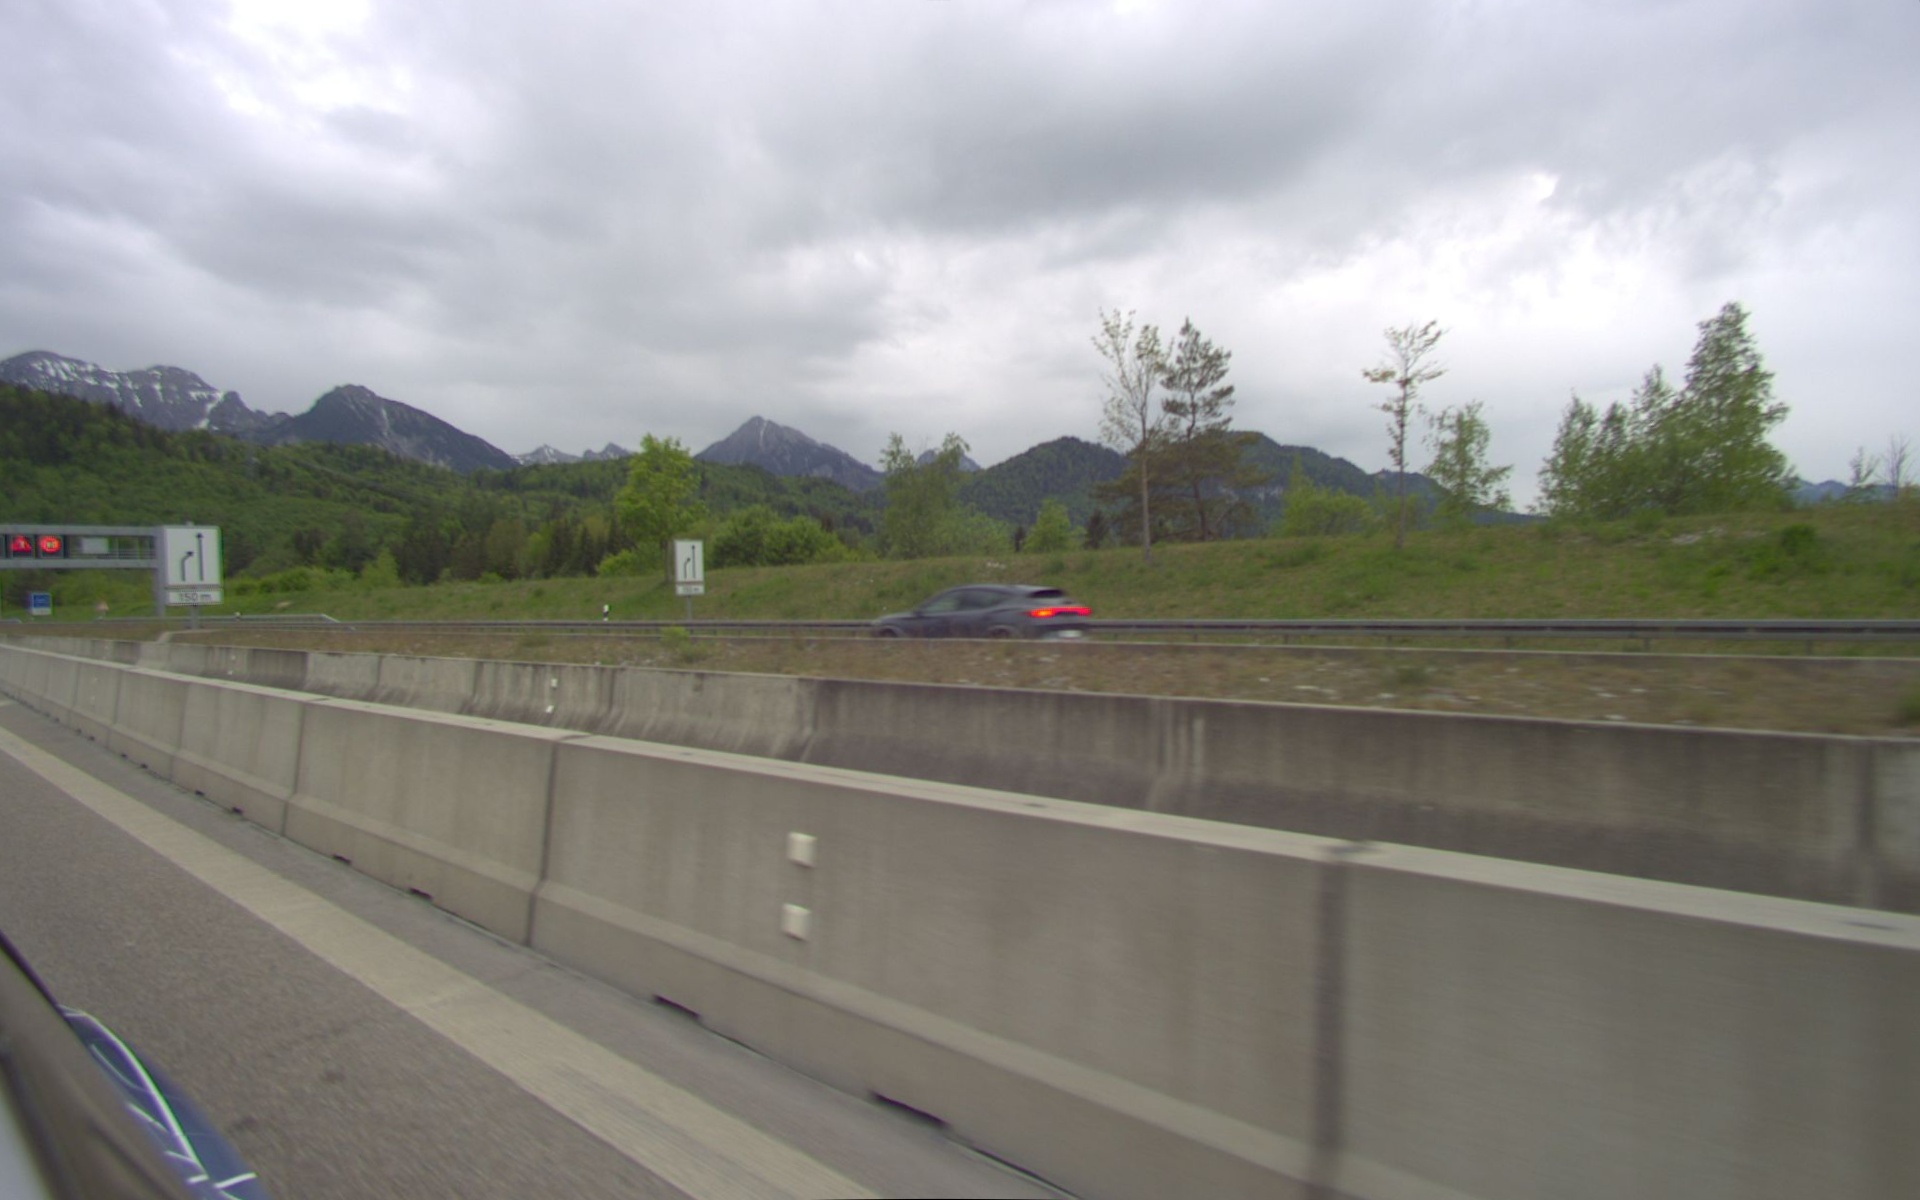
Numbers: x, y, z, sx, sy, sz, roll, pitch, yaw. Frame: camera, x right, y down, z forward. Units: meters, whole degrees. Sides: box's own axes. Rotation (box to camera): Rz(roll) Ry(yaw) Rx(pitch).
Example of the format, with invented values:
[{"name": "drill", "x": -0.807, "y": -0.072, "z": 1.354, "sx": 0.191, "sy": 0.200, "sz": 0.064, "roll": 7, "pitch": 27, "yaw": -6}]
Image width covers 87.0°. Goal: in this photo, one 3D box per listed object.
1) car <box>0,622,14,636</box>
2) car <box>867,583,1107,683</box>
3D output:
[{"name": "car", "x": -115.886, "y": 3.493, "z": 122.281, "sx": 4.403, "sy": 1.620, "sz": 1.750, "roll": -1, "pitch": 0, "yaw": 41}, {"name": "car", "x": 0.401, "y": 0.554, "z": 18.146, "sx": 4.175, "sy": 1.586, "sz": 1.684, "roll": -1, "pitch": 0, "yaw": 42}]
